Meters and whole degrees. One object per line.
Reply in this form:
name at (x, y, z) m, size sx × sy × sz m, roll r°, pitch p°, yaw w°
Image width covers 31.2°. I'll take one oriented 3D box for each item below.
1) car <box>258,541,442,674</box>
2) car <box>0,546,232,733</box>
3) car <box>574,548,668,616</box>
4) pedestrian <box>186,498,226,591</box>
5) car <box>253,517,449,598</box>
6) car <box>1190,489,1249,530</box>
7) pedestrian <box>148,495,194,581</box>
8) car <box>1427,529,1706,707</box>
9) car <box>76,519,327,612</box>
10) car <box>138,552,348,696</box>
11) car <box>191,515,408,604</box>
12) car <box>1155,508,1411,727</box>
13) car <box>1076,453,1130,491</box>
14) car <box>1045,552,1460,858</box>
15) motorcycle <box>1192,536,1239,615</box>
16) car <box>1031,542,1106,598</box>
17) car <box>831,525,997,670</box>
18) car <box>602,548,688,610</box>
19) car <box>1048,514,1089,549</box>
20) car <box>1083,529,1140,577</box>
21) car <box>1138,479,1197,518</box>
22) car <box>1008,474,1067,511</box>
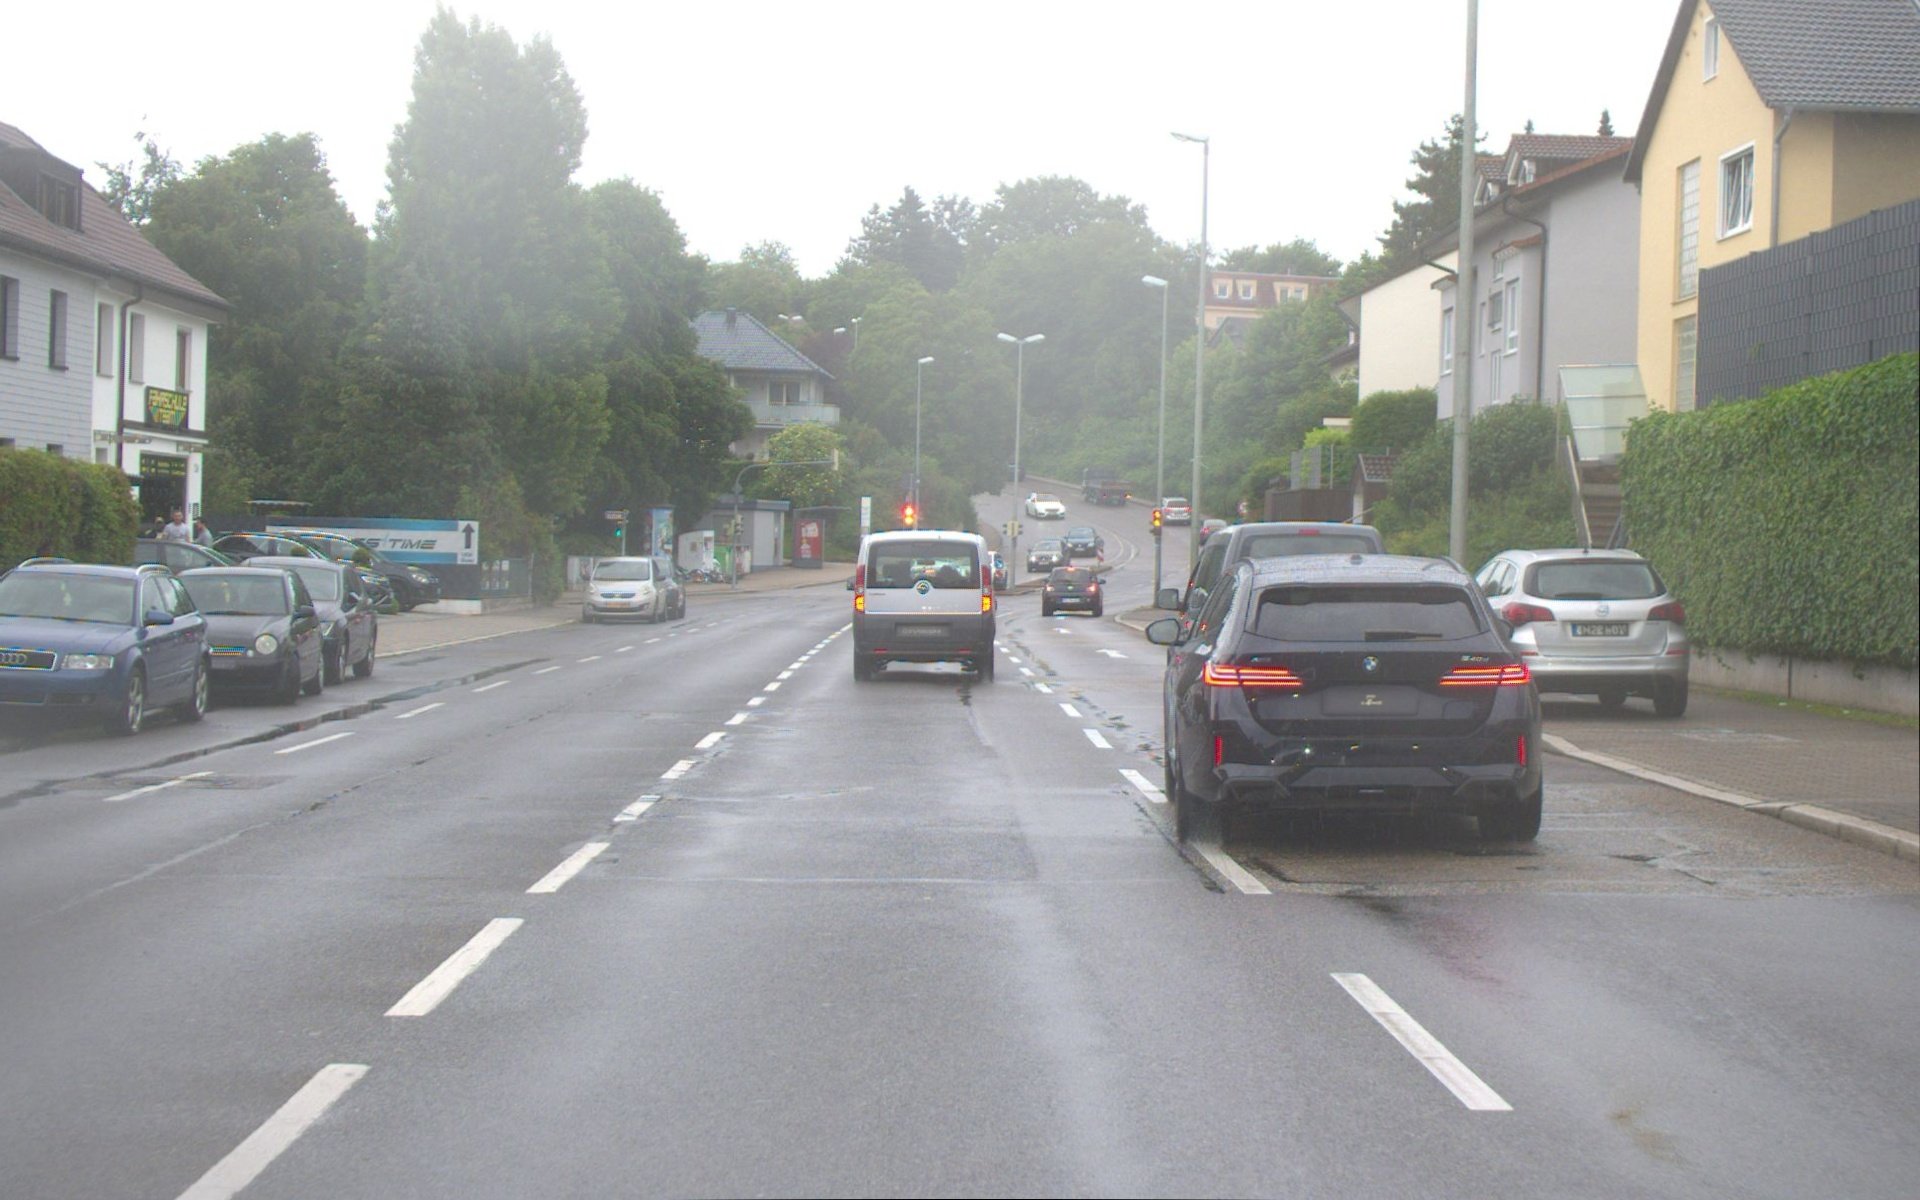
car at (-7.466, 0.063, 42.379) m, size 1.757 × 1.527 × 4.209 m, roll 1°, pitch 1°, yaw -4°
car at (-7.775, 0.294, 30.379) m, size 1.757 × 1.527 × 4.287 m, roll 1°, pitch 1°, yaw 0°
car at (-8.167, -0.451, 83.102) m, size 1.884 × 1.579 × 4.000 m, roll 1°, pitch 1°, yaw 0°
pedestrian at (-14.804, -1.083, 67.532) m, size 0.600 × 1.784 × 0.650 m, roll 3°, pitch 1°, yaw -6°
car at (-13.969, -0.975, 78.973) m, size 4.072 × 1.511 × 1.856 m, roll 5°, pitch 1°, yaw 0°
car at (14.487, -5.061, 192.118) m, size 2.521 × 2.006 × 5.610 m, roll 1°, pitch 4°, yaw -4°
pedestrian at (-15.620, -1.221, 68.066) m, size 0.600 × 1.660 × 0.650 m, roll 4°, pitch 1°, yaw 8°
car at (5.513, 0.131, 31.763) m, size 1.700 × 1.505 × 4.535 m, roll 1°, pitch 1°, yaw -1°
car at (-13.607, -0.625, 61.841) m, size 4.072 × 1.511 × 1.856 m, roll 2°, pitch 1°, yaw 0°
car at (-7.554, 0.220, 36.515) m, size 1.551 × 1.426 × 4.015 m, roll 1°, pitch 1°, yaw -3°
car at (-13.780, -0.848, 71.870) m, size 4.072 × 1.511 × 1.856 m, roll 5°, pitch 1°, yaw 0°
car at (2.748, 0.117, 30.059) m, size 1.838 × 1.761 × 4.000 m, roll 1°, pitch 1°, yaw 0°
car at (9.387, -8.431, 226.454) m, size 2.521 × 2.006 × 5.611 m, roll 2°, pitch 6°, yaw -8°
car at (1.490, 0.492, 18.940) m, size 1.993 × 1.479 × 4.000 m, roll 1°, pitch 1°, yaw 1°
motorcycle at (4.987, -0.480, 67.127) m, size 0.703 × 1.504 × 2.150 m, roll -2°, pitch 1°, yaw 0°
car at (3.176, -0.892, 101.288) m, size 1.993 × 1.573 × 4.000 m, roll -1°, pitch 1°, yaw -1°
car at (-0.557, -0.054, 43.724) m, size 1.993 × 1.731 × 4.000 m, roll 1°, pitch 1°, yaw 0°
car at (-8.229, -0.557, 90.166) m, size 1.884 × 1.579 × 4.000 m, roll 1°, pitch 1°, yaw 0°
car at (5.712, -3.635, 181.675) m, size 1.993 × 1.766 × 4.000 m, roll -1°, pitch 1°, yaw 0°
car at (7.378, -2.311, 168.034) m, size 2.521 × 2.006 × 5.609 m, roll 1°, pitch 4°, yaw 0°
car at (12.671, -6.220, 210.321) m, size 2.521 × 2.006 × 5.611 m, roll 1°, pitch 5°, yaw -8°
car at (4.864, -6.731, 215.427) m, size 2.521 × 2.006 × 5.611 m, roll 1°, pitch 4°, yaw -11°
